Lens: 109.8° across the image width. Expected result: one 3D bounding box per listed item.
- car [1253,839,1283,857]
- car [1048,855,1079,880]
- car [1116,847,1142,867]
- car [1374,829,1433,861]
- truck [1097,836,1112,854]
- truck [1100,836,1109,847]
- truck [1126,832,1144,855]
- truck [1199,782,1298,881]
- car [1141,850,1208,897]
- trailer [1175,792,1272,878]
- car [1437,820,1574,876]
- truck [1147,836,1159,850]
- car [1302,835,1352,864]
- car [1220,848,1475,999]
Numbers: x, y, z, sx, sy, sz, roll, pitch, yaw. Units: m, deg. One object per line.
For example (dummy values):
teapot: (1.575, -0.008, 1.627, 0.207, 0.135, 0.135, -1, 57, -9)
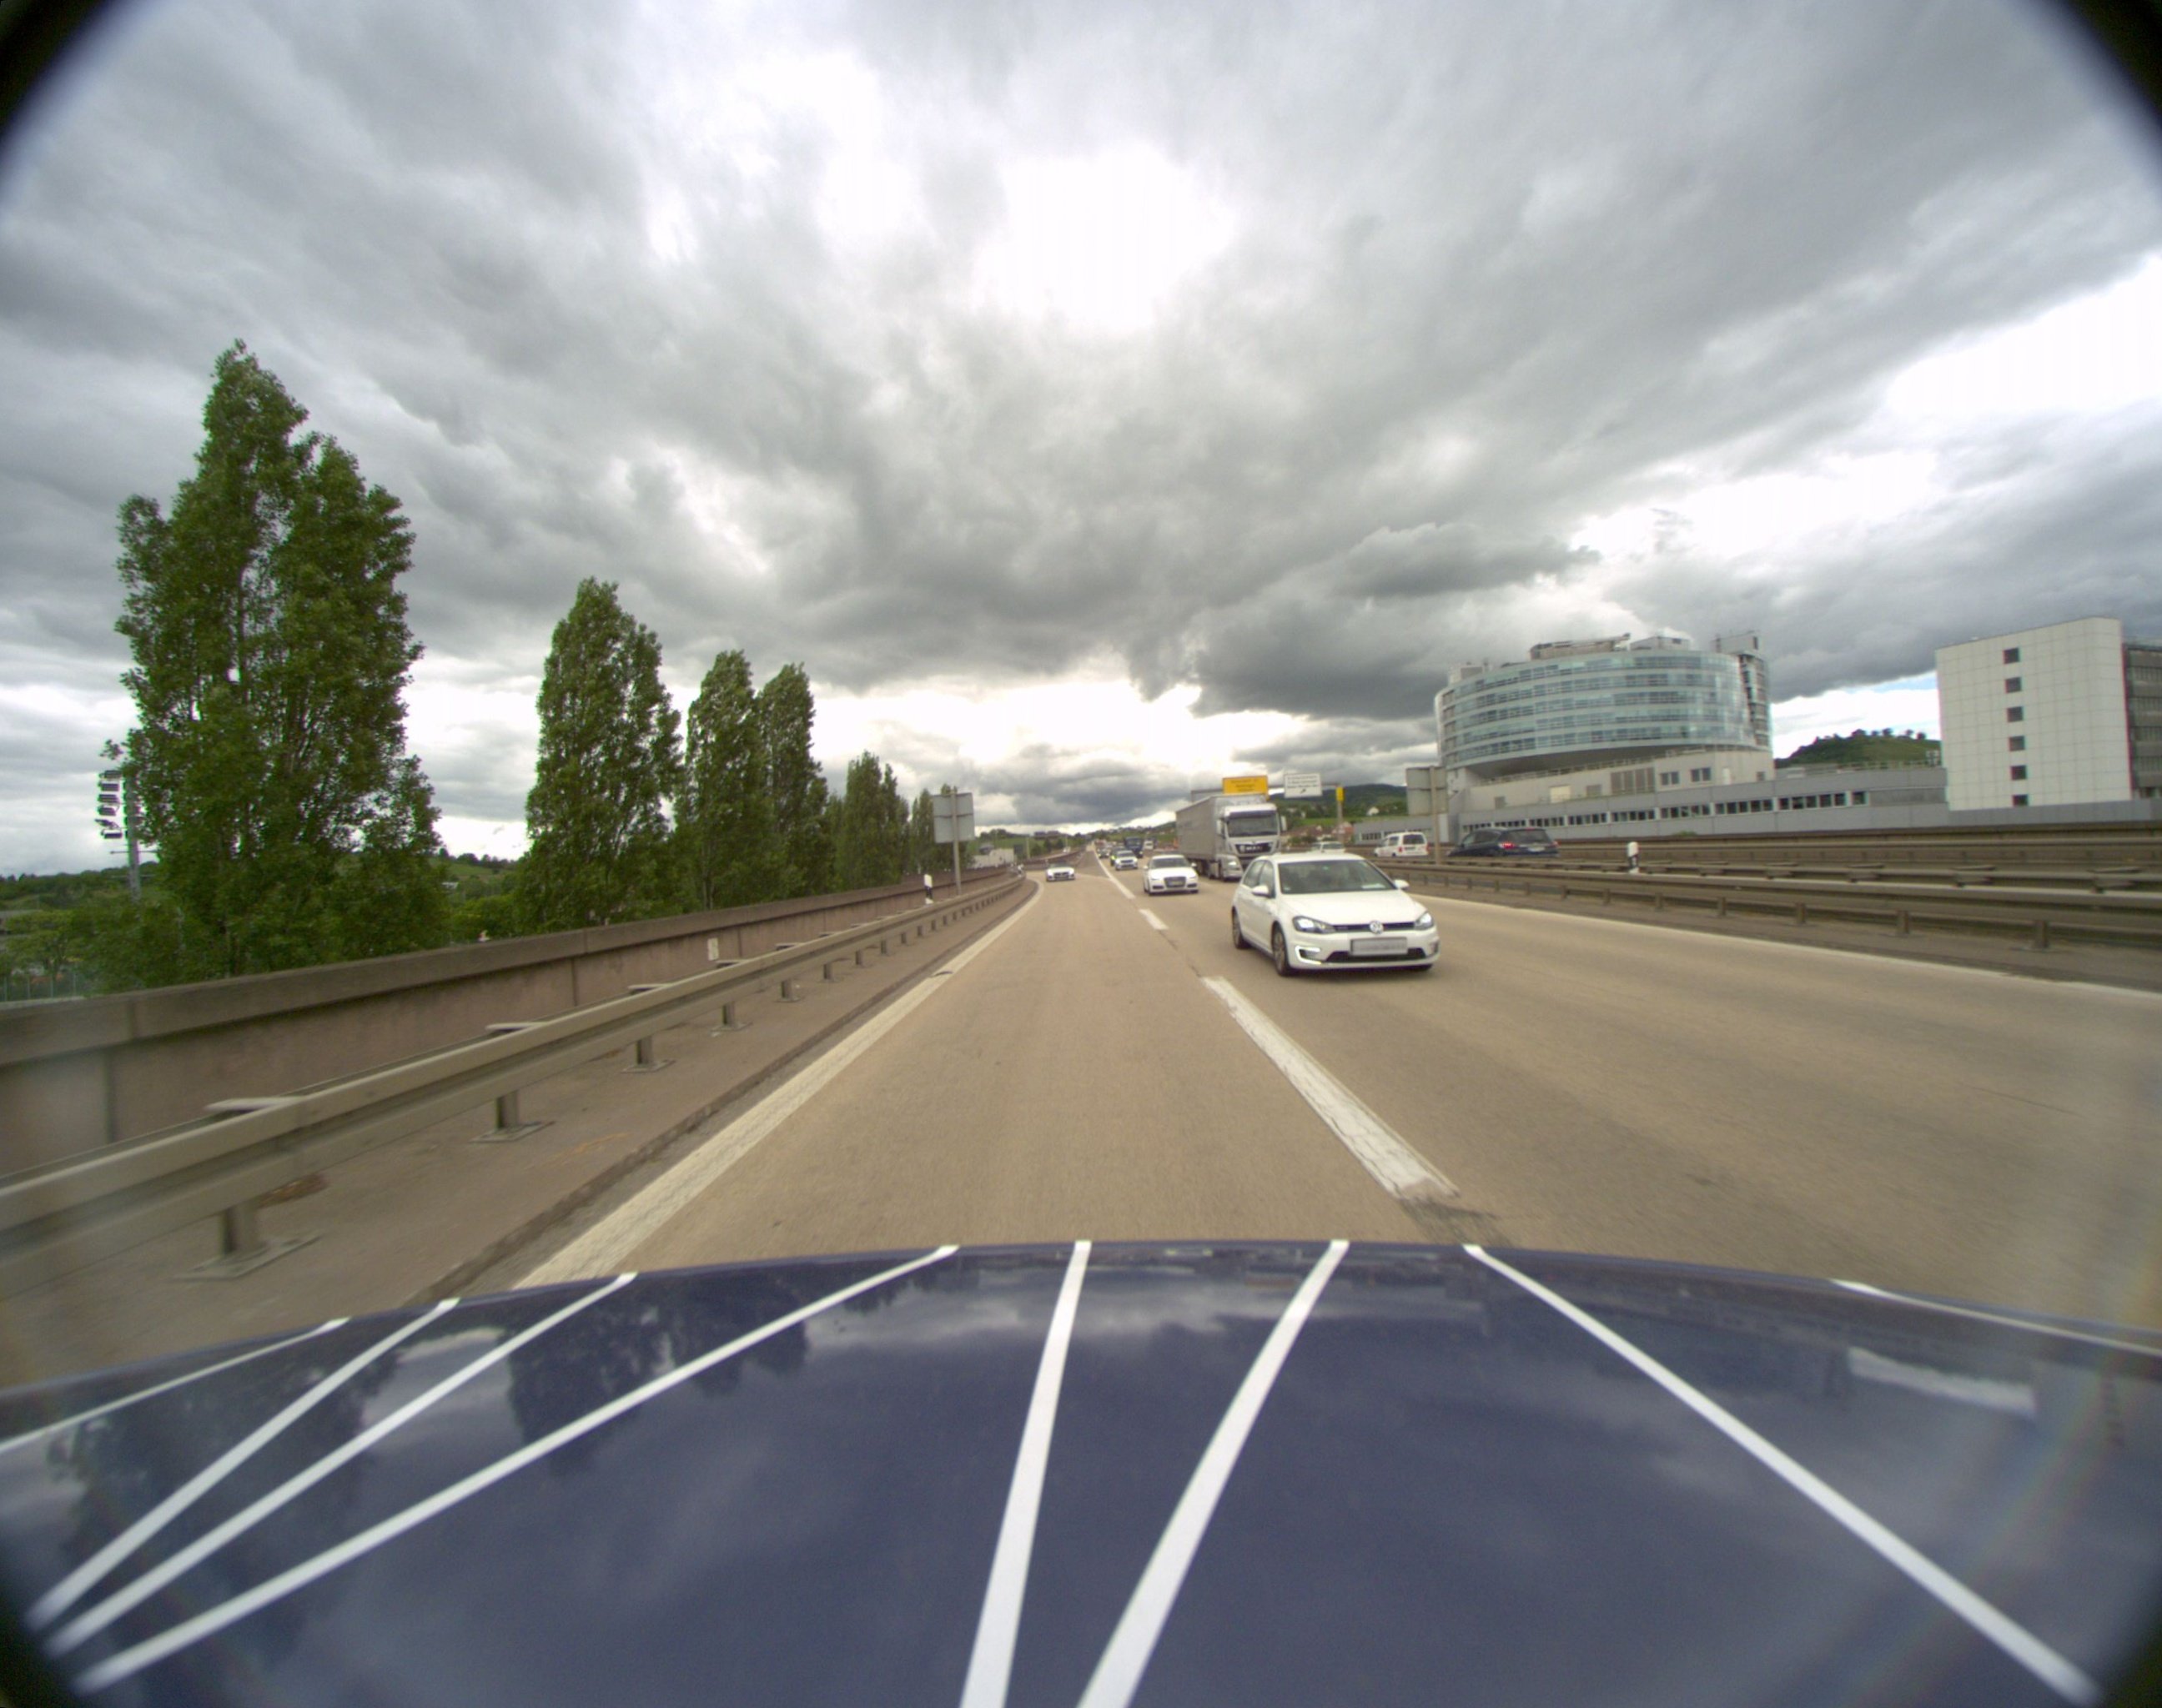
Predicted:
car: (18.101, -0.611, 73.646, 1.793, 1.581, 4.133, -3, 1, 0)
car: (-1.187, 0.908, 52.611, 1.930, 1.499, 4.061, -3, 1, 0)
car: (4.207, 0.244, 66.797, 1.930, 1.585, 4.061, -3, 1, 0)
car: (18.509, -0.522, 43.778, 1.687, 1.641, 3.775, -3, 1, 0)
truck: (4.250, -1.640, 138.097, 2.626, 3.219, 6.685, -2, 1, 1)
truck: (7.289, -3.926, 239.914, 2.626, 3.219, 6.685, -2, 1, 1)
truck: (8.199, -1.576, 115.687, 2.336, 3.219, 6.685, -2, 1, 1)
truck: (7.538, -0.977, 35.048, 3.142, 4.014, 5.688, -4, 1, 1)
car: (3.404, 0.650, 28.394, 1.930, 1.499, 4.061, -3, 1, 0)
trailer: (7.659, -0.976, 42.863, 3.189, 4.003, 11.764, -4, 1, 1)
car: (13.961, -0.217, 25.354, 1.930, 1.585, 4.607, -3, 1, 0)
truck: (18.348, -2.792, 192.448, 2.335, 3.219, 6.690, -2, 1, 10)
car: (14.429, -0.276, 44.767, 1.687, 1.585, 3.775, -3, 1, 0)
car: (3.223, 0.726, 10.146, 1.930, 1.499, 4.061, -3, 1, 0)
